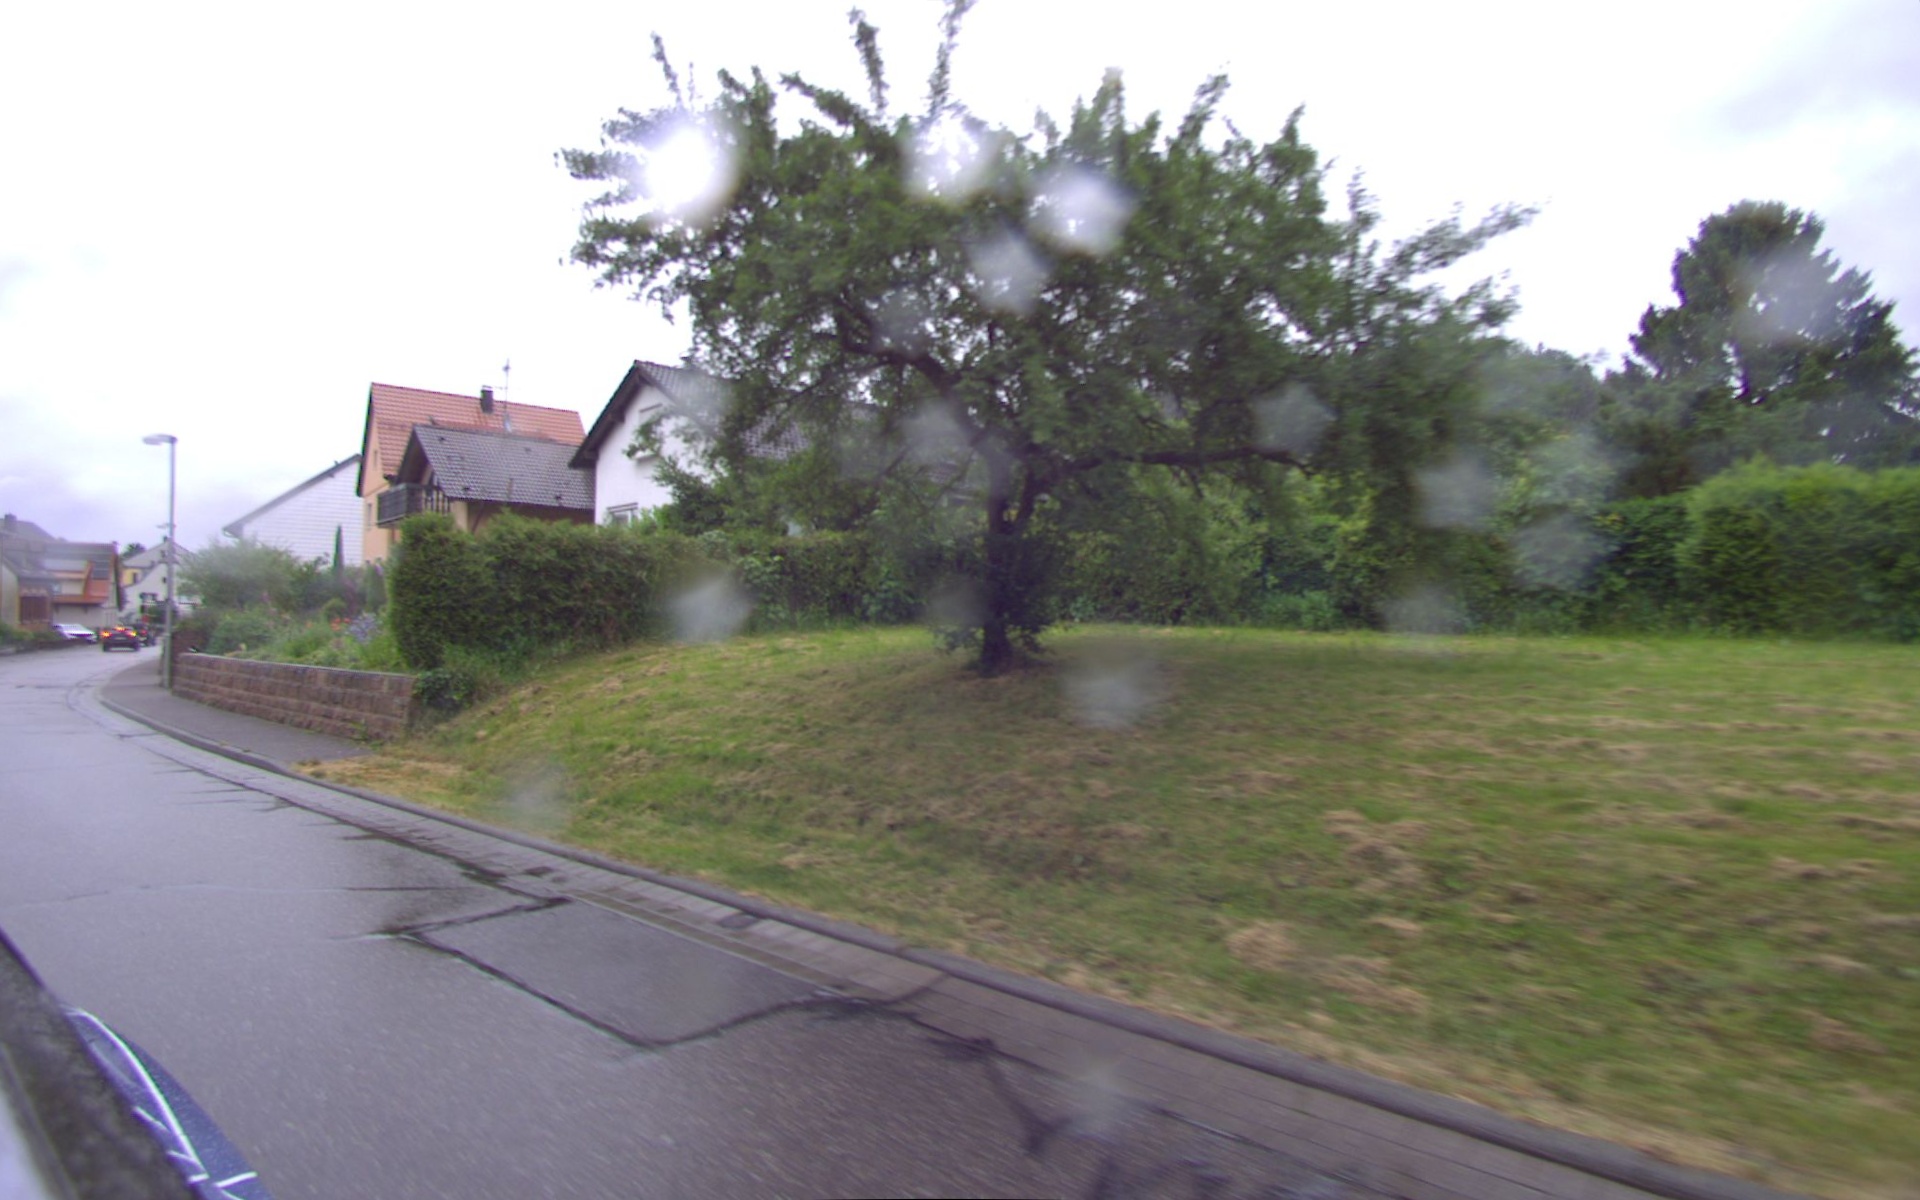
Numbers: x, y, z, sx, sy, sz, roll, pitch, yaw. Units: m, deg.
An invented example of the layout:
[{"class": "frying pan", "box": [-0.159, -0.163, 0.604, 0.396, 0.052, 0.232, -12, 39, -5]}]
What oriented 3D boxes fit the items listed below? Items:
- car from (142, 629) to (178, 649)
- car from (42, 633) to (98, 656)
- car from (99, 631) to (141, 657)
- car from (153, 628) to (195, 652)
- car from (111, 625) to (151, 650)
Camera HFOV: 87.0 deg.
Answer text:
[{"class": "car", "box": [-69.661, 3.421, 88.219, 1.786, 1.608, 4.196, 3, -2, -30]}, {"class": "car", "box": [-66.653, 3.303, 75.783, 3.873, 1.587, 1.873, -1, 0, 28]}, {"class": "car", "box": [-53.652, 2.812, 64.712, 1.677, 1.558, 3.860, 4, -4, -35]}, {"class": "car", "box": [-58.369, 2.972, 75.218, 1.786, 1.697, 4.196, 3, -2, -30]}, {"class": "car", "box": [-60.939, 2.748, 74.486, 1.809, 1.686, 5.210, 3, -2, -35]}]
